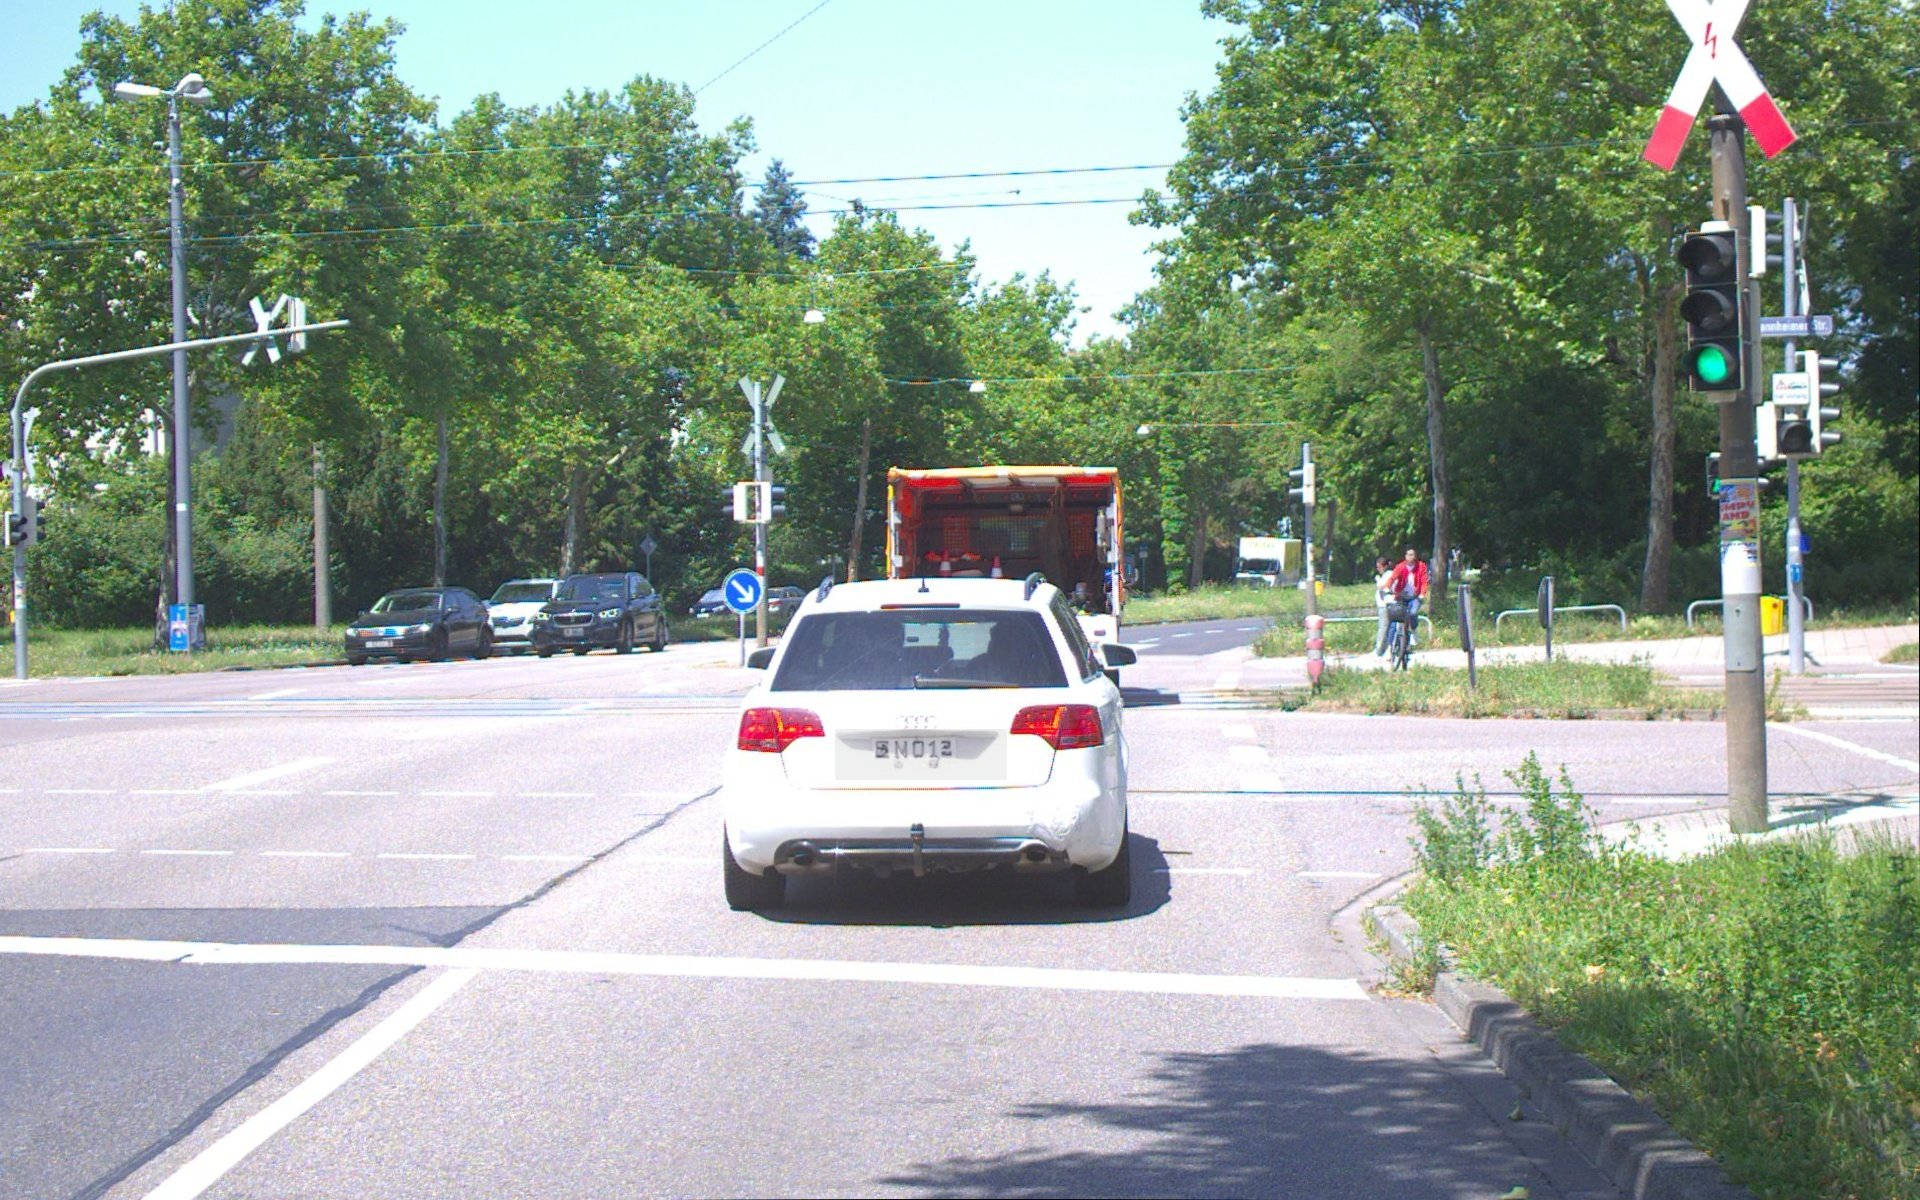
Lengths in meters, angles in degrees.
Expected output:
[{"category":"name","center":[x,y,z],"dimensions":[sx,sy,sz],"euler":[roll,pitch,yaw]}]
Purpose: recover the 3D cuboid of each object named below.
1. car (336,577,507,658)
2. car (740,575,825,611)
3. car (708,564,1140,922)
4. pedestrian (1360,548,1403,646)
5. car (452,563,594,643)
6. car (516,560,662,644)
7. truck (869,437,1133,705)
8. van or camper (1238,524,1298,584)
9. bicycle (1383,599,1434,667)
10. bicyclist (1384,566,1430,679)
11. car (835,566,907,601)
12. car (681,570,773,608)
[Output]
[{"category":"car","center":[-10.463,0.316,67.149],"dimensions":[1.950,1.435,4.745],"euler":[-1,1,9]},{"category":"car","center":[-7.097,-0.290,137.977],"dimensions":[1.883,1.371,3.996],"euler":[-1,1,22]},{"category":"car","center":[-0.096,0.563,15.803],"dimensions":[1.762,1.440,3.616],"euler":[0,1,2]},{"category":"pedestrian","center":[6.398,-0.050,52.223],"dimensions":[0.553,1.479,0.629],"euler":[-1,1,14]},{"category":"car","center":[-9.393,0.048,74.213],"dimensions":[1.788,1.609,4.402],"euler":[-1,1,10]},{"category":"car","center":[-7.208,0.010,67.240],"dimensions":[1.909,1.533,4.298],"euler":[-1,1,6]},{"category":"truck","center":[0.422,-0.309,36.852],"dimensions":[2.511,2.551,7.603],"euler":[1,0,0]},{"category":"van or camper","center":[17.586,-2.614,195.998],"dimensions":[2.662,3.320,5.497],"euler":[-1,1,12]},{"category":"bicycle","center":[6.232,0.445,47.796],"dimensions":[0.587,0.892,1.811],"euler":[-1,1,4]},{"category":"bicyclist","center":[6.229,0.313,47.879],"dimensions":[0.577,1.551,0.673],"euler":[-1,0,5]},{"category":"car","center":[-3.818,-0.723,147.554],"dimensions":[1.883,1.469,3.997],"euler":[-1,1,18]},{"category":"car","center":[-8.982,-0.445,132.728],"dimensions":[1.884,1.388,3.995],"euler":[-1,1,24]}]
